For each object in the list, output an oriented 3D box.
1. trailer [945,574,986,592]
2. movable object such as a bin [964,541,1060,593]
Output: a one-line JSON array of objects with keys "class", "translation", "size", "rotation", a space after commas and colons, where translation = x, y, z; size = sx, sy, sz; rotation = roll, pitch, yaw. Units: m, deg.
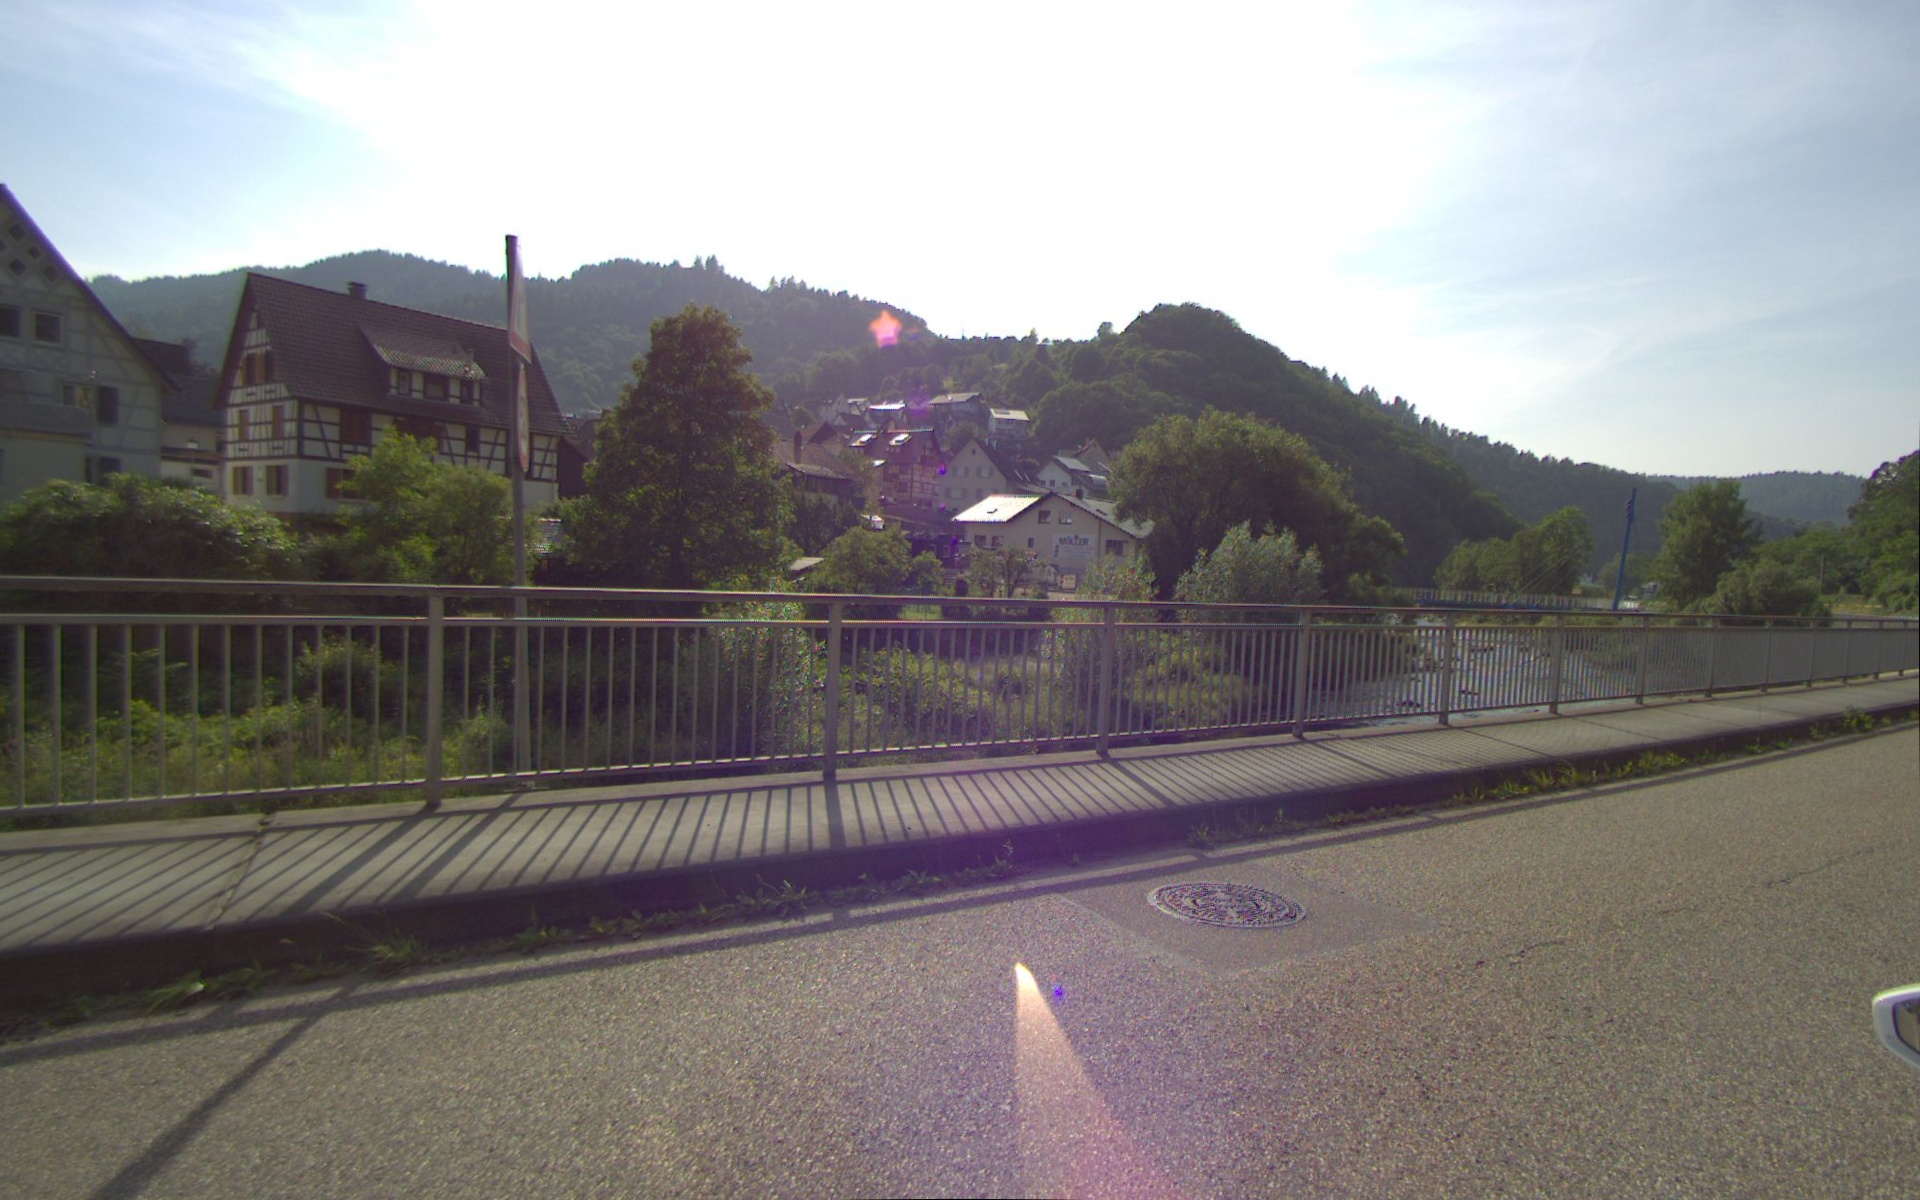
[{"class": "trailer", "translation": [0.472, -1.352, 80.013], "size": [1.862, 1.327, 3.696], "rotation": [1, 0, 25]}, {"class": "movable object such as a bin", "translation": [4.676, -3.027, 91.970], "size": [8.016, 3.256, 3.548], "rotation": [10, 1, -6]}]
